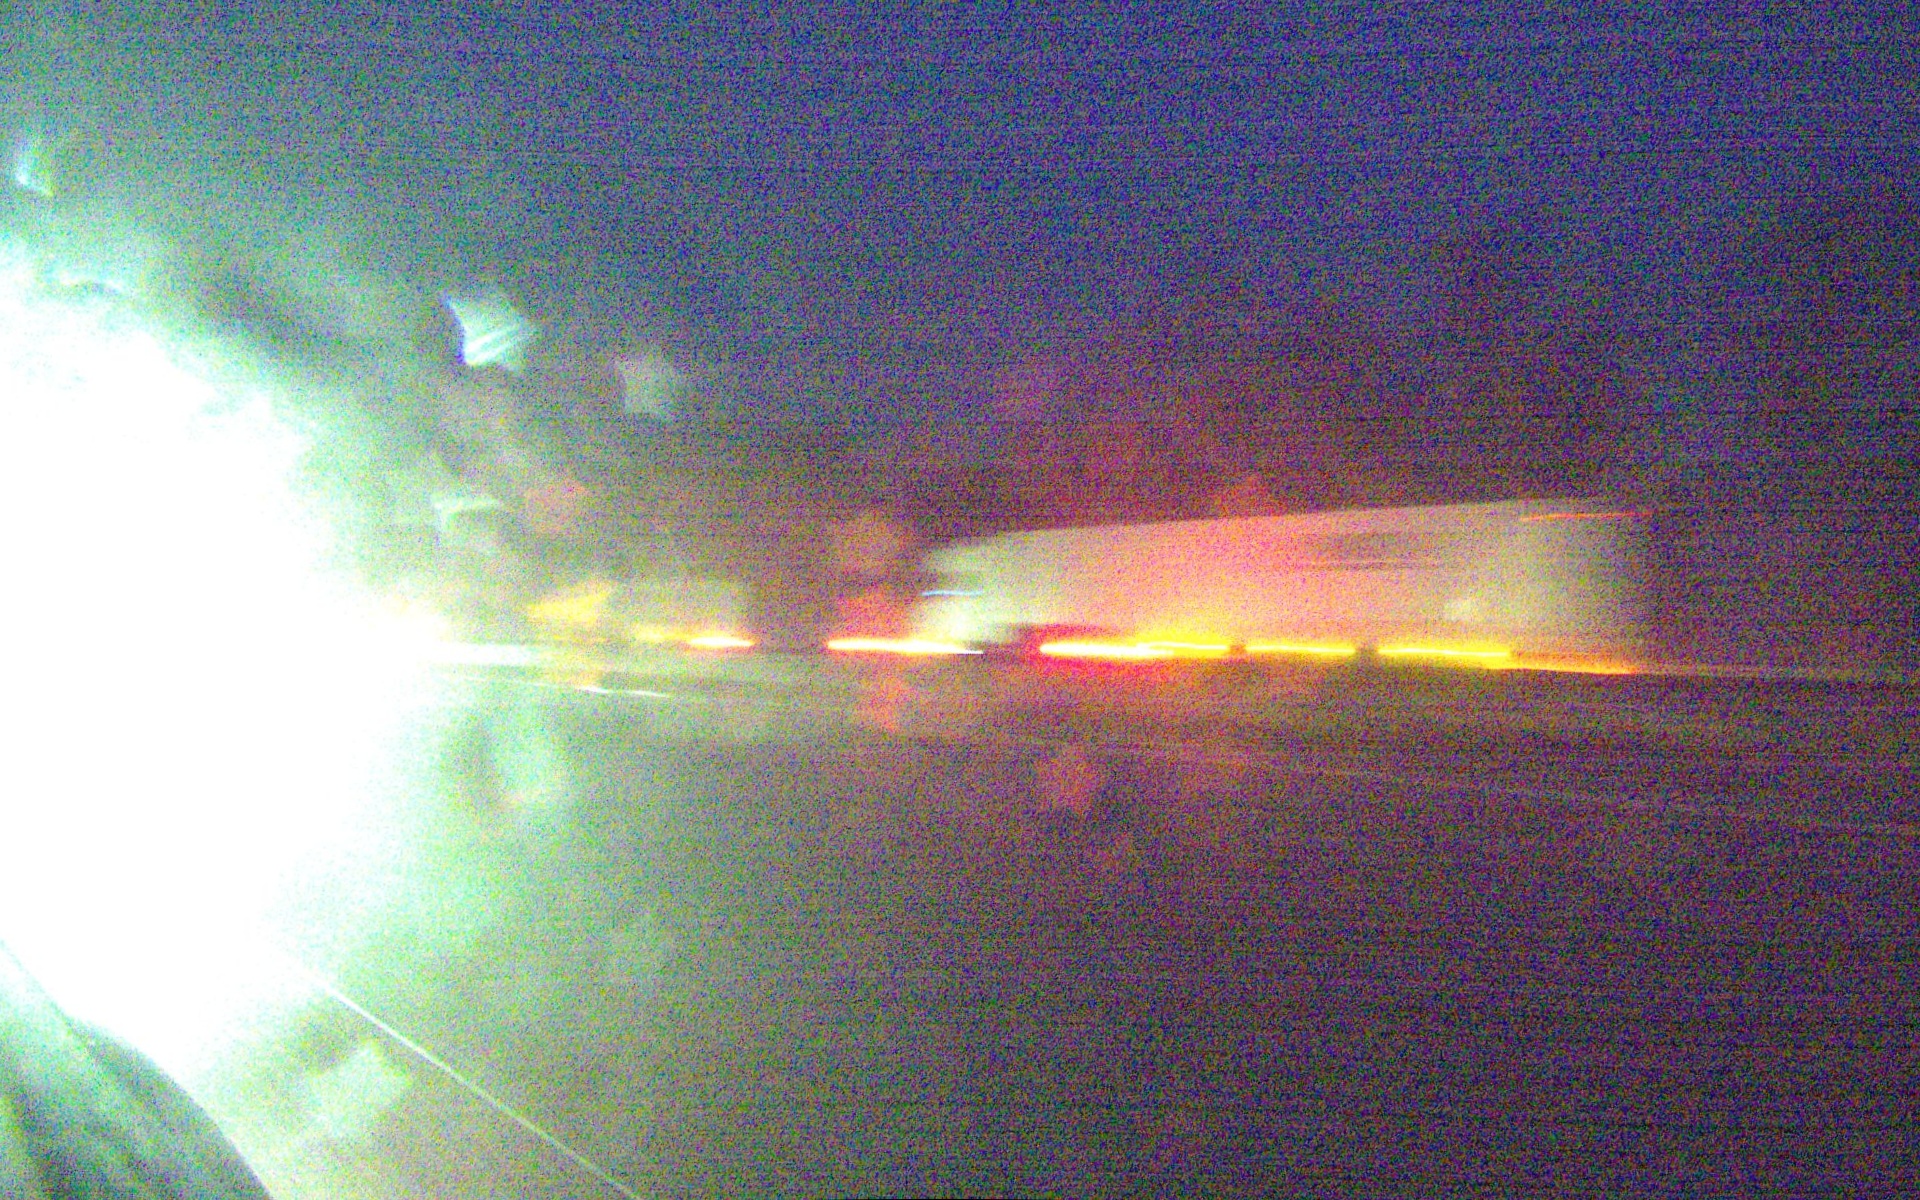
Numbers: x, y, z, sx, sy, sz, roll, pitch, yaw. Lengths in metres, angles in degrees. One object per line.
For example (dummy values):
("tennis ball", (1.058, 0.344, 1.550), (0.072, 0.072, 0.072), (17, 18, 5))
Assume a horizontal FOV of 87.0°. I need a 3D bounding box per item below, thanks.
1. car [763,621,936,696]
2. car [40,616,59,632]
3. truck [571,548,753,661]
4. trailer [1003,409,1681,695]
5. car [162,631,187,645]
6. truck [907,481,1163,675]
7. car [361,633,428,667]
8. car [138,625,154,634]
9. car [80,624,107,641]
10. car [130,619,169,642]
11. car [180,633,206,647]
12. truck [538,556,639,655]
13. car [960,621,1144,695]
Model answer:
("car", (-2.562, 1.259, 23.009), (3.998, 1.524, 1.639), (-1, 0, 41))
("car", (-169.543, 4.507, 188.465), (4.718, 2.915, 2.131), (-1, 0, 42))
("truck", (-16.682, 0.280, 55.693), (12.788, 5.634, 3.205), (-1, 0, 41))
("trailer", (7.985, -0.797, 24.198), (14.792, 5.066, 3.750), (-1, 0, 41))
("car", (-100.649, 4.821, 129.676), (3.812, 1.724, 1.850), (-1, 0, 42))
("truck", (2.084, -0.548, 29.359), (6.474, 4.946, 3.750), (-1, 0, 41))
("car", (-27.897, 2.431, 49.912), (3.998, 1.524, 1.639), (-1, 0, 41))
("car", (-159.376, 5.792, 198.136), (4.173, 1.802, 1.870), (-1, 0, 42))
("car", (-103.061, 3.797, 120.407), (4.143, 1.920, 1.887), (-1, 0, 42))
("car", (-67.952, 2.541, 84.838), (4.393, 1.767, 1.702), (-1, 0, 39))
("car", (-89.235, 4.647, 117.707), (3.766, 1.514, 1.666), (-1, 0, 42))
("truck", (-22.220, 0.335, 60.425), (5.874, 5.634, 3.206), (-1, 0, 41))
("car", (2.070, 1.264, 23.459), (4.045, 1.524, 1.639), (-1, 0, 41))
